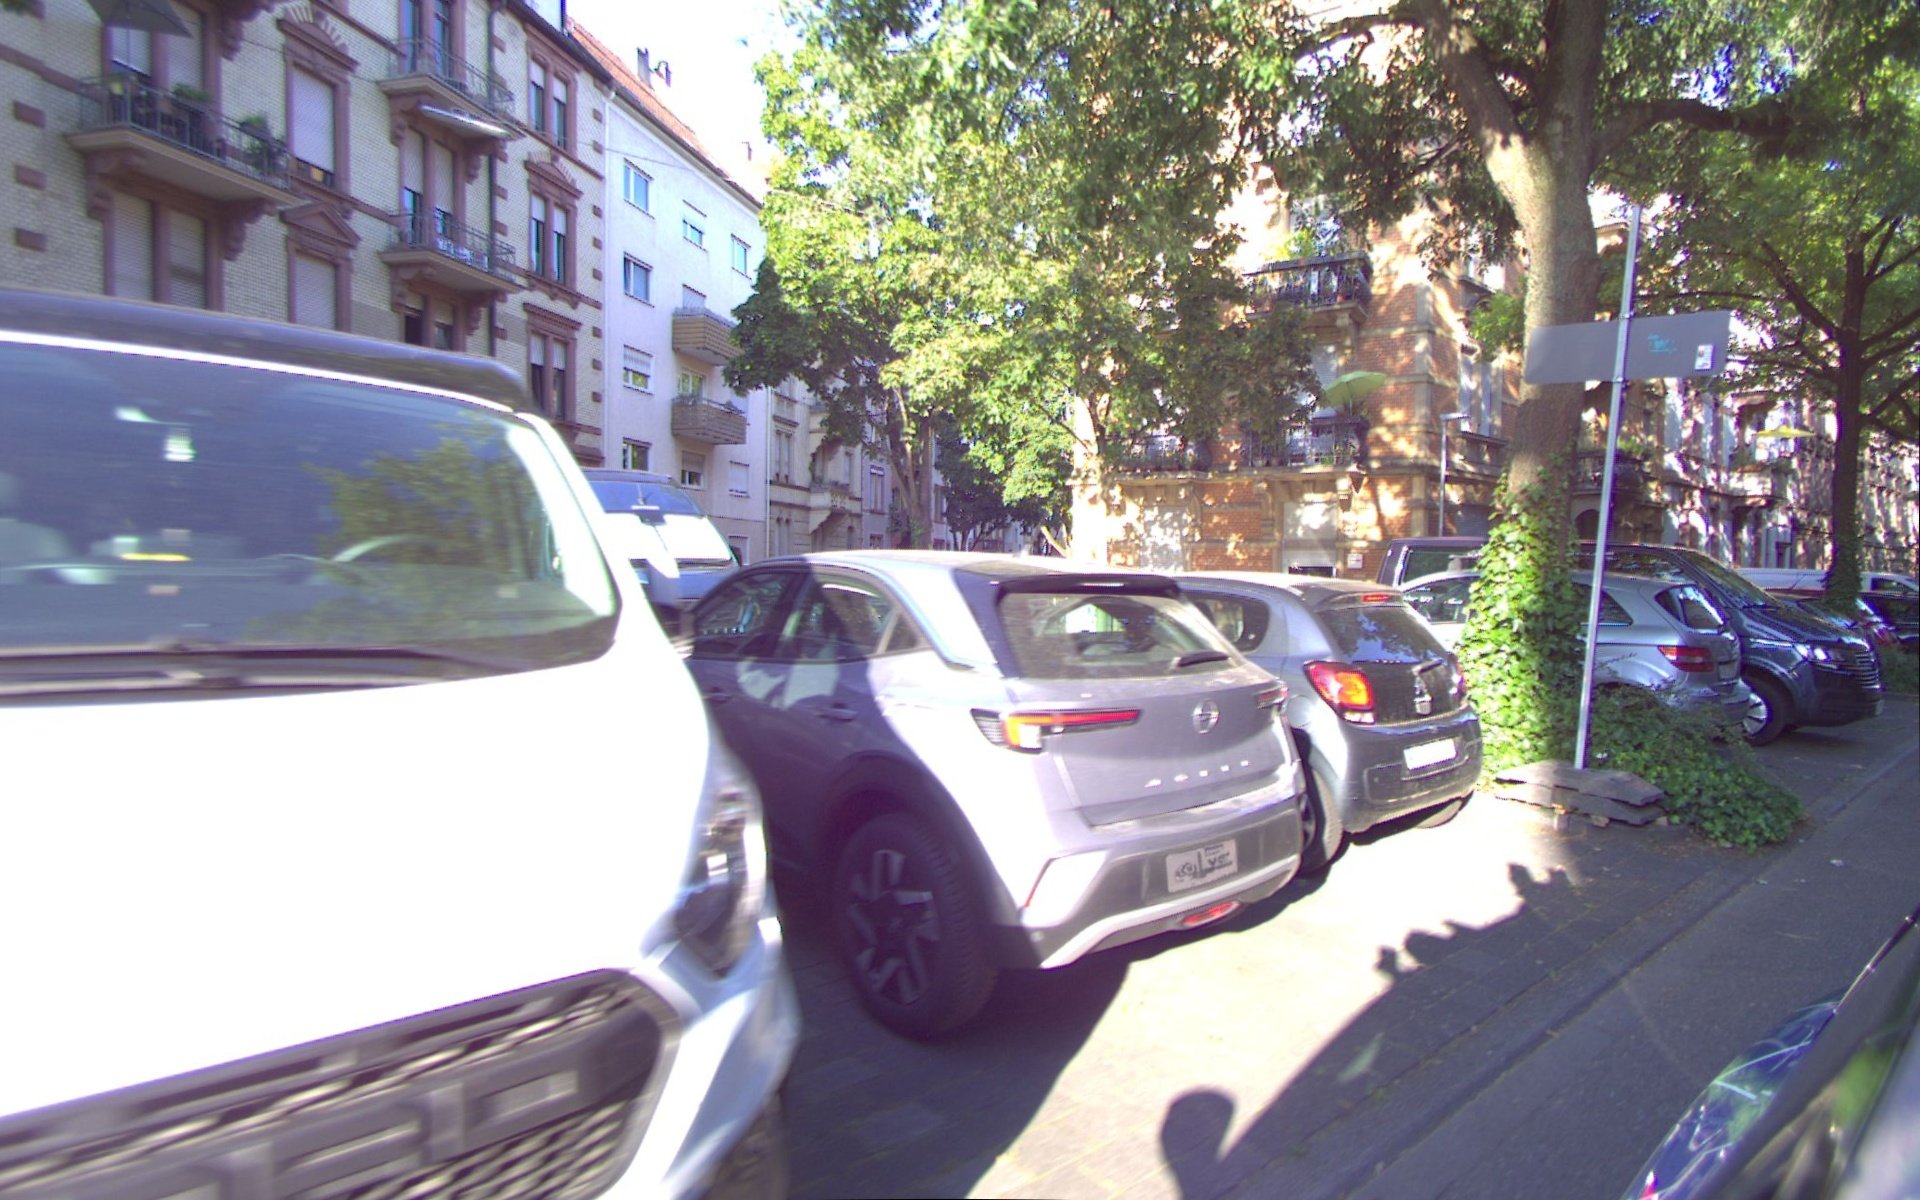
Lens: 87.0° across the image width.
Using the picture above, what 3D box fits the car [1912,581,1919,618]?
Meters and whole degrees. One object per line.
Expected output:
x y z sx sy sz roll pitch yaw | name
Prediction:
38.935 0.124 38.313 1.648 1.404 3.998 0 5 -40 | car

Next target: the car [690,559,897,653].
-3.163 0.033 18.689 1.832 1.528 4.059 0 2 -43 | car

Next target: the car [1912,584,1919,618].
43.747 0.107 43.362 1.768 1.488 4.111 0 2 -38 | car

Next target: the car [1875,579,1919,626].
34.695 0.144 35.262 1.752 1.610 3.992 0 3 -43 | car

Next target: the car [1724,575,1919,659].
18.361 0.326 20.843 3.987 1.492 1.754 4 4 43 | car

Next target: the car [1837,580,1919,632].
30.067 0.210 30.978 1.964 1.548 4.565 0 2 -38 | car

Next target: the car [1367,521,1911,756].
7.195 0.237 11.158 1.966 2.038 4.622 0 2 -42 | car

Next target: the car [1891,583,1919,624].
36.693 0.166 36.847 1.752 1.480 3.992 0 3 -43 | car

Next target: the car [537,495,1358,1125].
-0.441 0.464 4.621 1.710 1.615 3.849 0 2 -40 | car

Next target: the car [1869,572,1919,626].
33.028 0.068 33.149 1.850 1.723 4.652 0 4 -43 | car

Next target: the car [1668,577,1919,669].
16.130 0.369 18.915 1.899 1.473 4.380 0 3 -39 | car

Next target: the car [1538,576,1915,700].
10.984 0.429 14.775 1.854 1.465 4.001 0 2 -35 | car

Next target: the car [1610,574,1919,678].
14.112 0.353 17.828 1.810 1.516 4.091 0 3 -39 | car

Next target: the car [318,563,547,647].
-10.449 0.030 20.448 1.839 1.493 4.230 1 2 12 | car

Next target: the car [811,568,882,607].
-4.898 -0.564 44.169 1.839 1.601 4.230 1 2 12 | car

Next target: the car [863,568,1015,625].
-0.671 -0.149 28.042 1.819 1.389 4.405 0 2 -41 | car

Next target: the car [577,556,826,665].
-4.299 0.070 16.463 4.291 1.523 1.886 3 2 42 | car

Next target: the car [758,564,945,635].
-2.352 -0.071 21.255 1.832 1.292 4.060 0 2 -43 | car

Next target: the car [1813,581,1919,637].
28.061 0.285 29.448 1.898 1.521 4.670 0 2 -40 | car

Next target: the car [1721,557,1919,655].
20.282 0.072 22.441 2.121 1.962 5.104 -5 5 -39 | car

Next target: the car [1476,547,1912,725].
9.301 0.300 13.100 1.907 1.908 4.274 0 2 -43 | car

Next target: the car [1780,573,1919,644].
23.568 0.192 25.802 1.695 1.669 3.890 0 2 -42 | car

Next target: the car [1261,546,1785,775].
5.141 0.372 9.668 1.769 1.713 3.994 0 2 -41 | car

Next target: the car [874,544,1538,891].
1.295 0.445 6.546 1.815 1.534 3.849 0 2 -40 | car

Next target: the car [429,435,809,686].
-4.707 -0.502 13.277 5.897 2.569 2.342 2 2 45 | car

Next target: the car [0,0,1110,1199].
-2.131 0.254 3.015 2.068 2.122 4.985 0 2 -40 | car

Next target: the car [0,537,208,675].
-12.065 0.040 12.613 1.755 1.630 4.201 1 2 14 | car
